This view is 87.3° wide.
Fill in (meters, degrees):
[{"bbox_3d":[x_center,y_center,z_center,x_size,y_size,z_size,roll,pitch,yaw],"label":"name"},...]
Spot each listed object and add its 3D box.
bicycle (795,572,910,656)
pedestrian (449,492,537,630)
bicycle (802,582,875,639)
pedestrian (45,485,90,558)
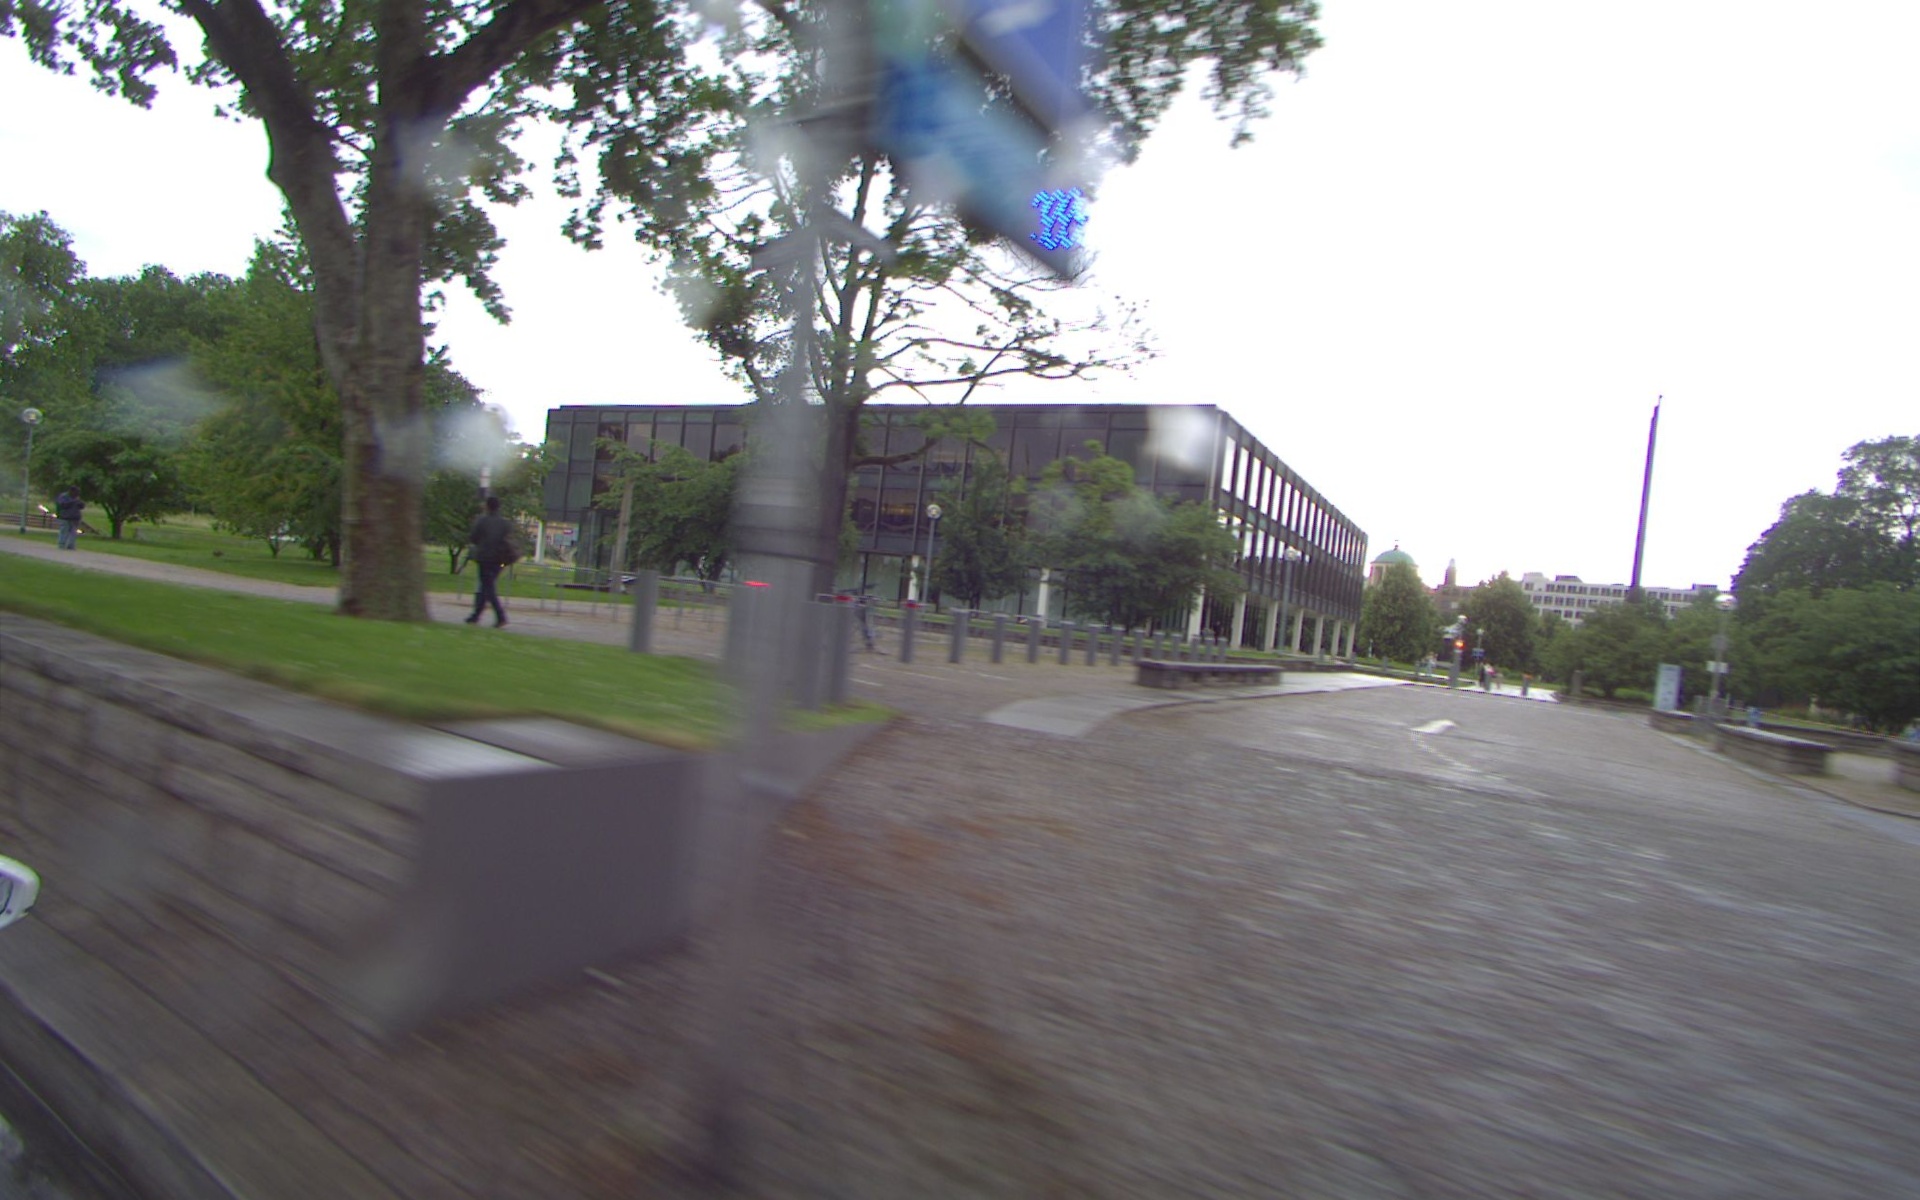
[{"bbox_3d":[-1.703,0.245,16.326,0.942,1.188,2.040,7,0,20],"label":"bicycle"},{"bbox_3d":[-6.148,-0.502,13.266,0.681,1.741,0.705,5,2,31],"label":"pedestrian"},{"bbox_3d":[-2.609,0.238,21.701,0.697,1.099,1.645,7,1,25],"label":"bicycle"},{"bbox_3d":[-22.965,-2.015,25.893,0.713,1.779,0.595,7,3,29],"label":"pedestrian"}]
